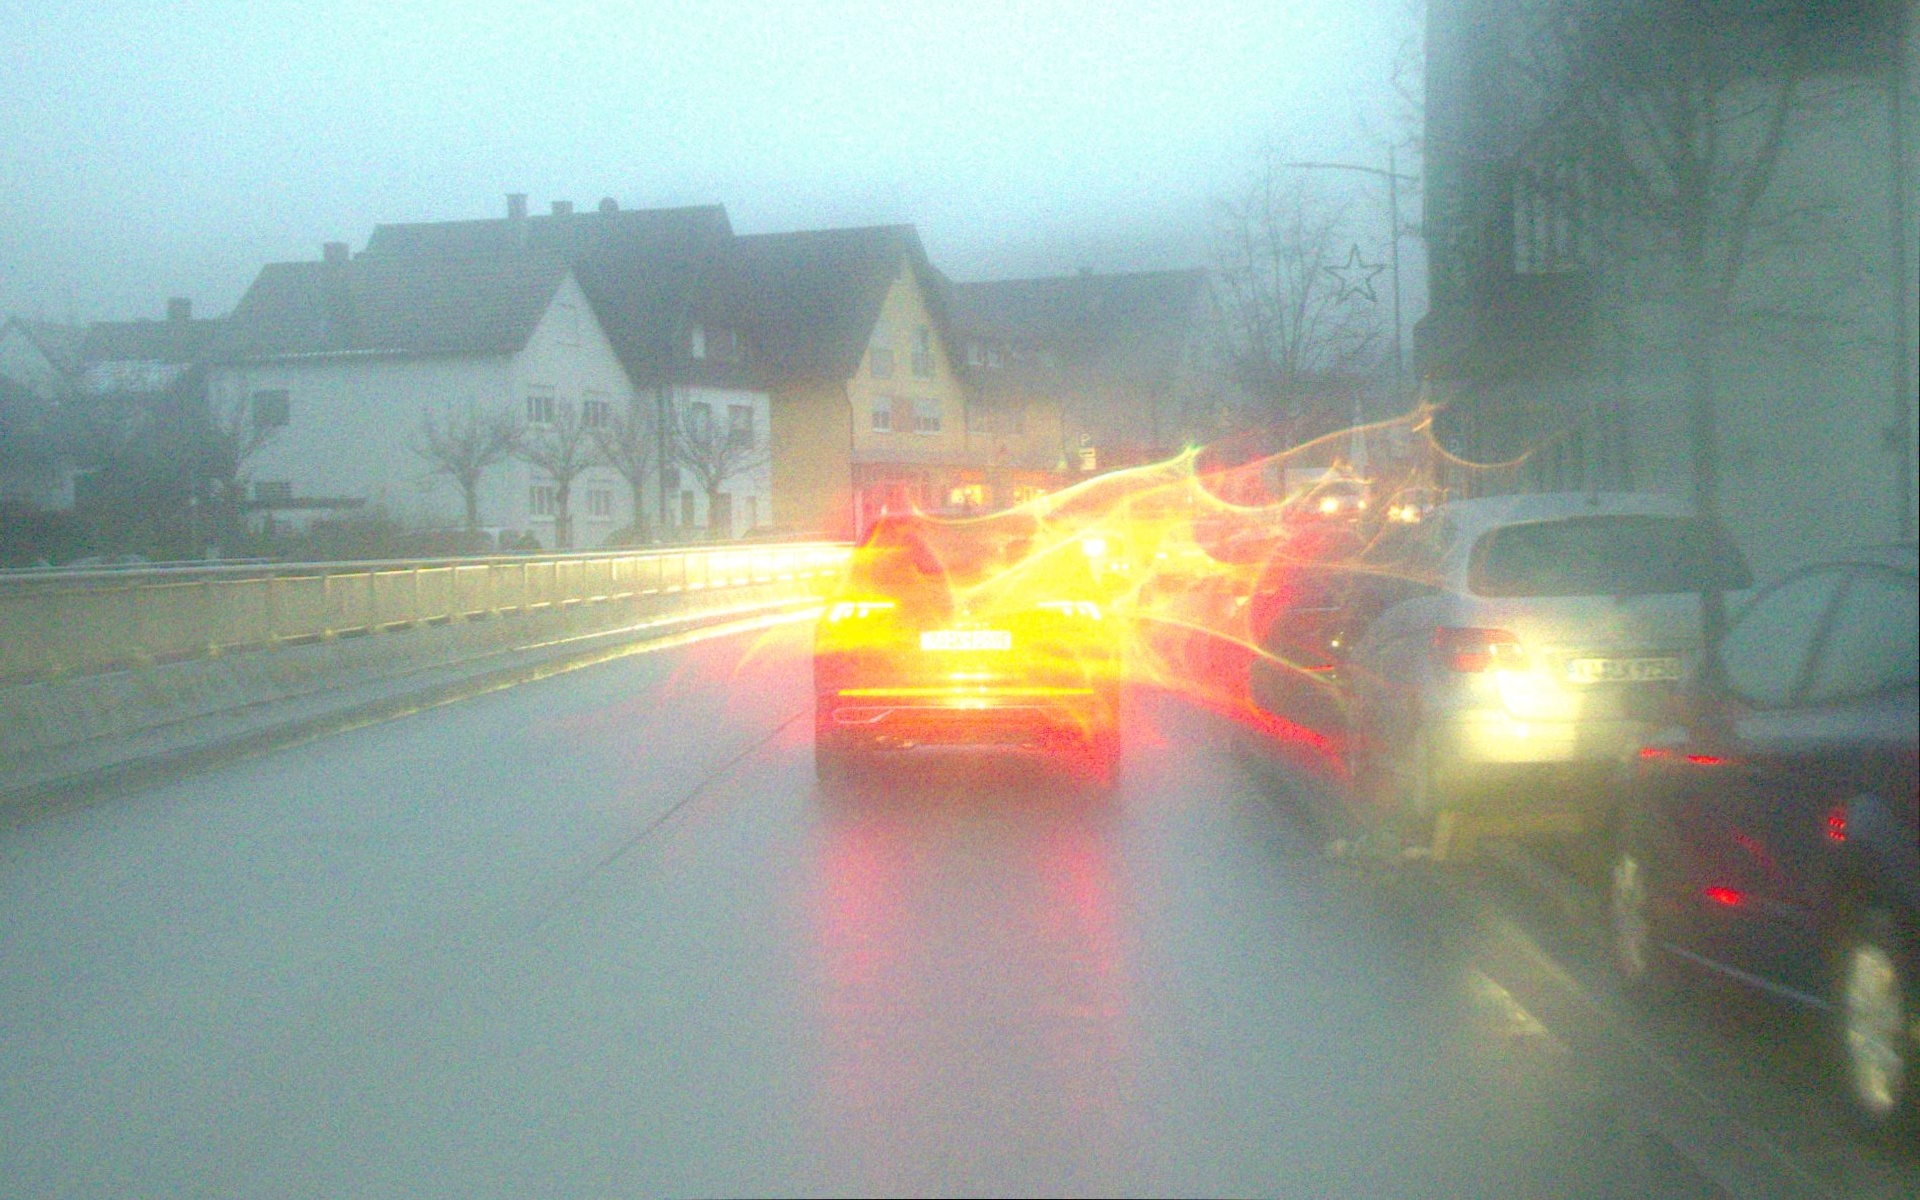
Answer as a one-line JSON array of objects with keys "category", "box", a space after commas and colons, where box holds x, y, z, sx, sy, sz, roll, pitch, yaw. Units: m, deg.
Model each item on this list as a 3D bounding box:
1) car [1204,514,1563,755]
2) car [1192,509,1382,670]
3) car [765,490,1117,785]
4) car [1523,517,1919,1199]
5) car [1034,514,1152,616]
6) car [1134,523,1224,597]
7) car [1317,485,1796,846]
[{"category": "car", "box": [2.900, 0.160, 24.622, 1.956, 1.527, 5.009, 1, 1, 0]}, {"category": "car", "box": [3.298, -0.153, 35.299, 1.652, 1.450, 4.238, -4, 1, 3]}, {"category": "car", "box": [-0.126, 0.146, 21.587, 1.964, 1.589, 4.314, -1, 3, 0]}, {"category": "car", "box": [2.844, 0.517, 9.565, 1.702, 1.446, 4.192, -2, 2, -2]}, {"category": "car", "box": [2.031, -0.563, 51.799, 1.682, 1.448, 4.000, 1, 1, 3]}, {"category": "car", "box": [4.629, -0.860, 72.418, 1.814, 1.407, 4.000, -1, 3, 4]}, {"category": "car", "box": [2.925, 0.245, 17.754, 1.664, 1.570, 4.497, -2, 1, 0]}]
